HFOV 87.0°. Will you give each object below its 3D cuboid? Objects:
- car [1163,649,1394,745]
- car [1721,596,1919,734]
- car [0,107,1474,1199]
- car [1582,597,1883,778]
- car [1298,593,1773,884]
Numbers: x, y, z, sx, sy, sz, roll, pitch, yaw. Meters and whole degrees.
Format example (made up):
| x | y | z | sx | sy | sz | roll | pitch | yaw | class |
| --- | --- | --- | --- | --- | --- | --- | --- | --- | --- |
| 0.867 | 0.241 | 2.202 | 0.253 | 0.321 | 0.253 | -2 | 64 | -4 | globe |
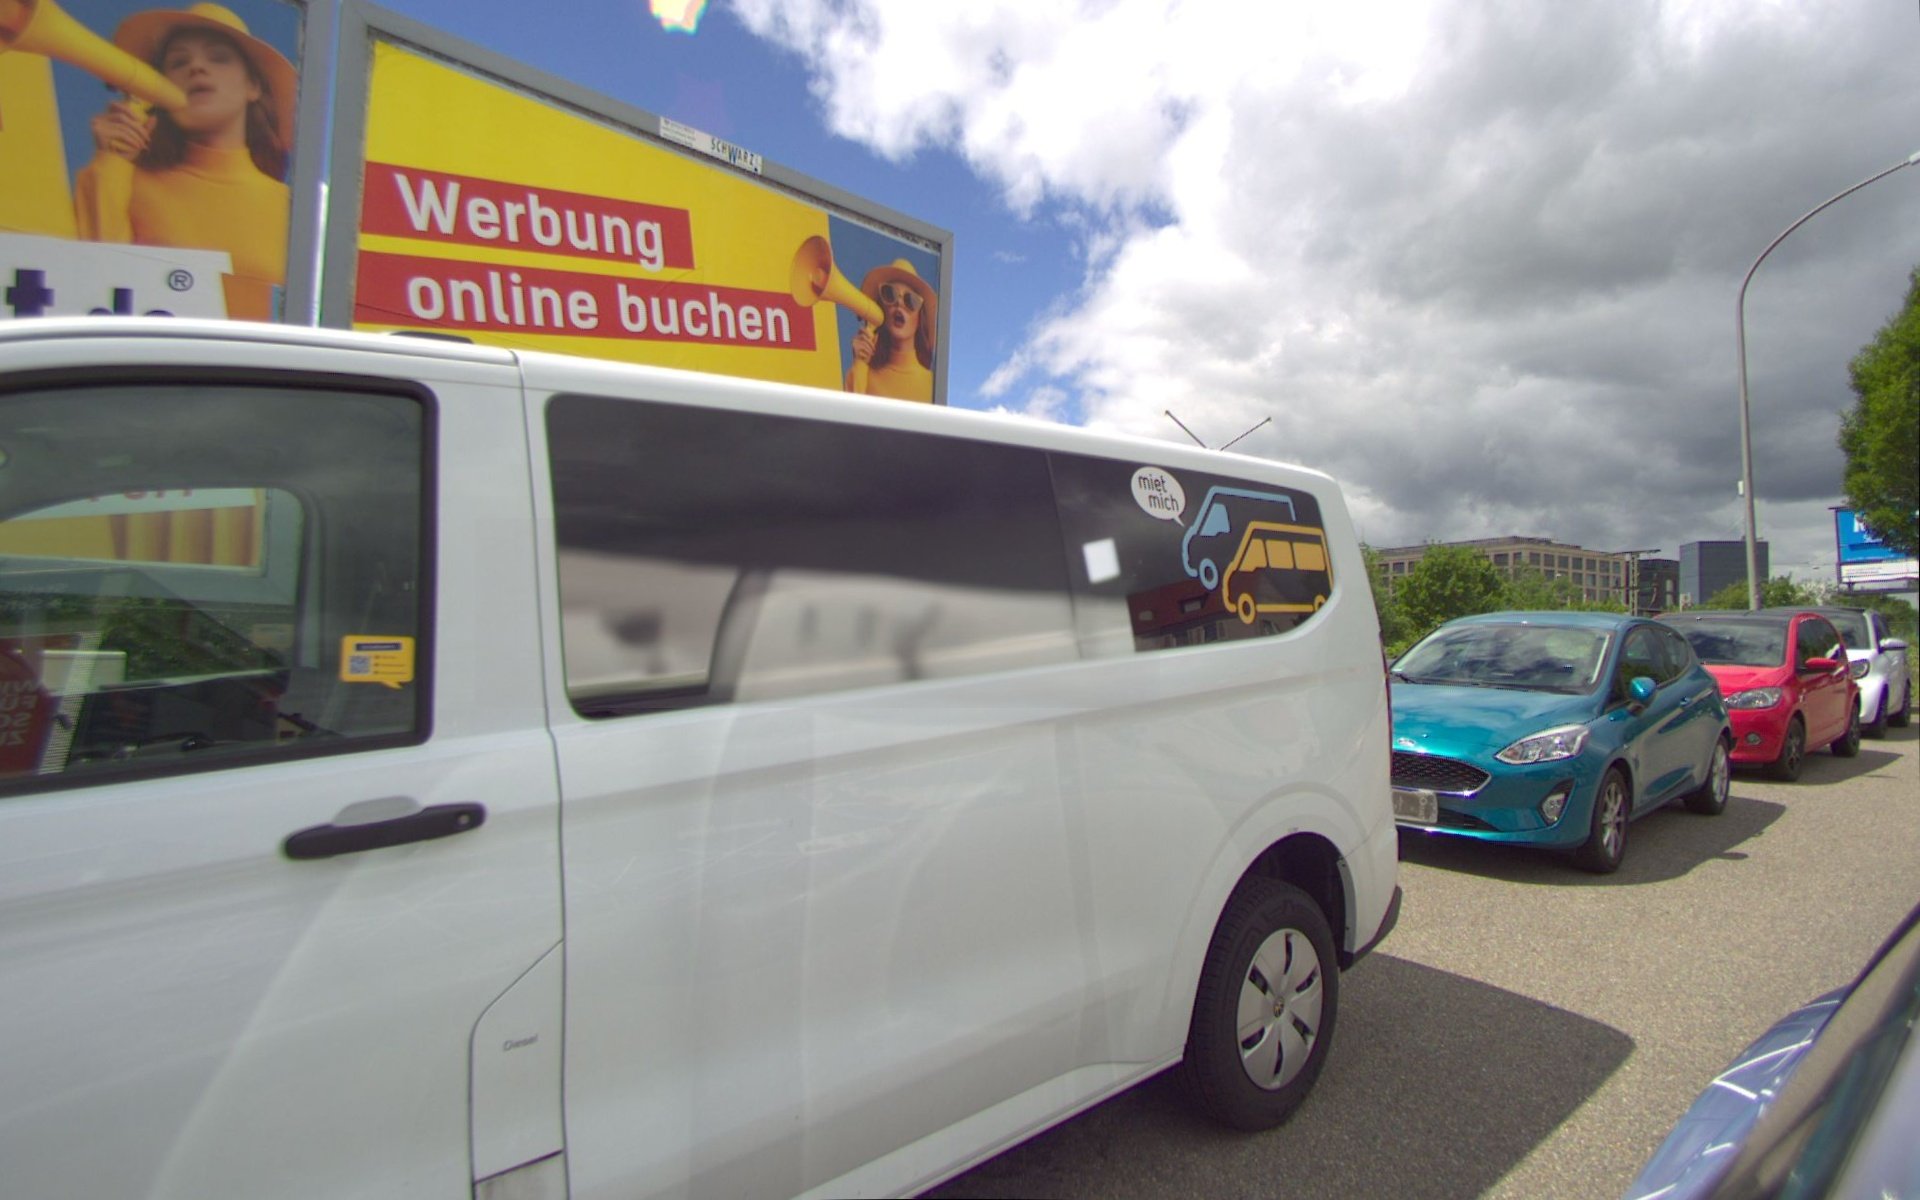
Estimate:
| x | y | z | sx | sy | sz | roll | pitch | yaw | class |
| --- | --- | --- | --- | --- | --- | --- | --- | --- | --- |
| 5.936 | 1.688 | 18.649 | 4.470 | 1.368 | 1.821 | 0 | 0 | -37 | car |
| 11.033 | 0.738 | 12.861 | 2.807 | 1.542 | 1.596 | 0 | -1 | -40 | car |
| -0.932 | 0.451 | 2.584 | 5.447 | 2.029 | 1.979 | 0 | -1 | -39 | car |
| 7.753 | 0.732 | 10.072 | 3.436 | 1.500 | 1.596 | 0 | -1 | -39 | car |
| 4.123 | 0.708 | 6.987 | 3.908 | 1.469 | 1.596 | 0 | -1 | -40 | car |
